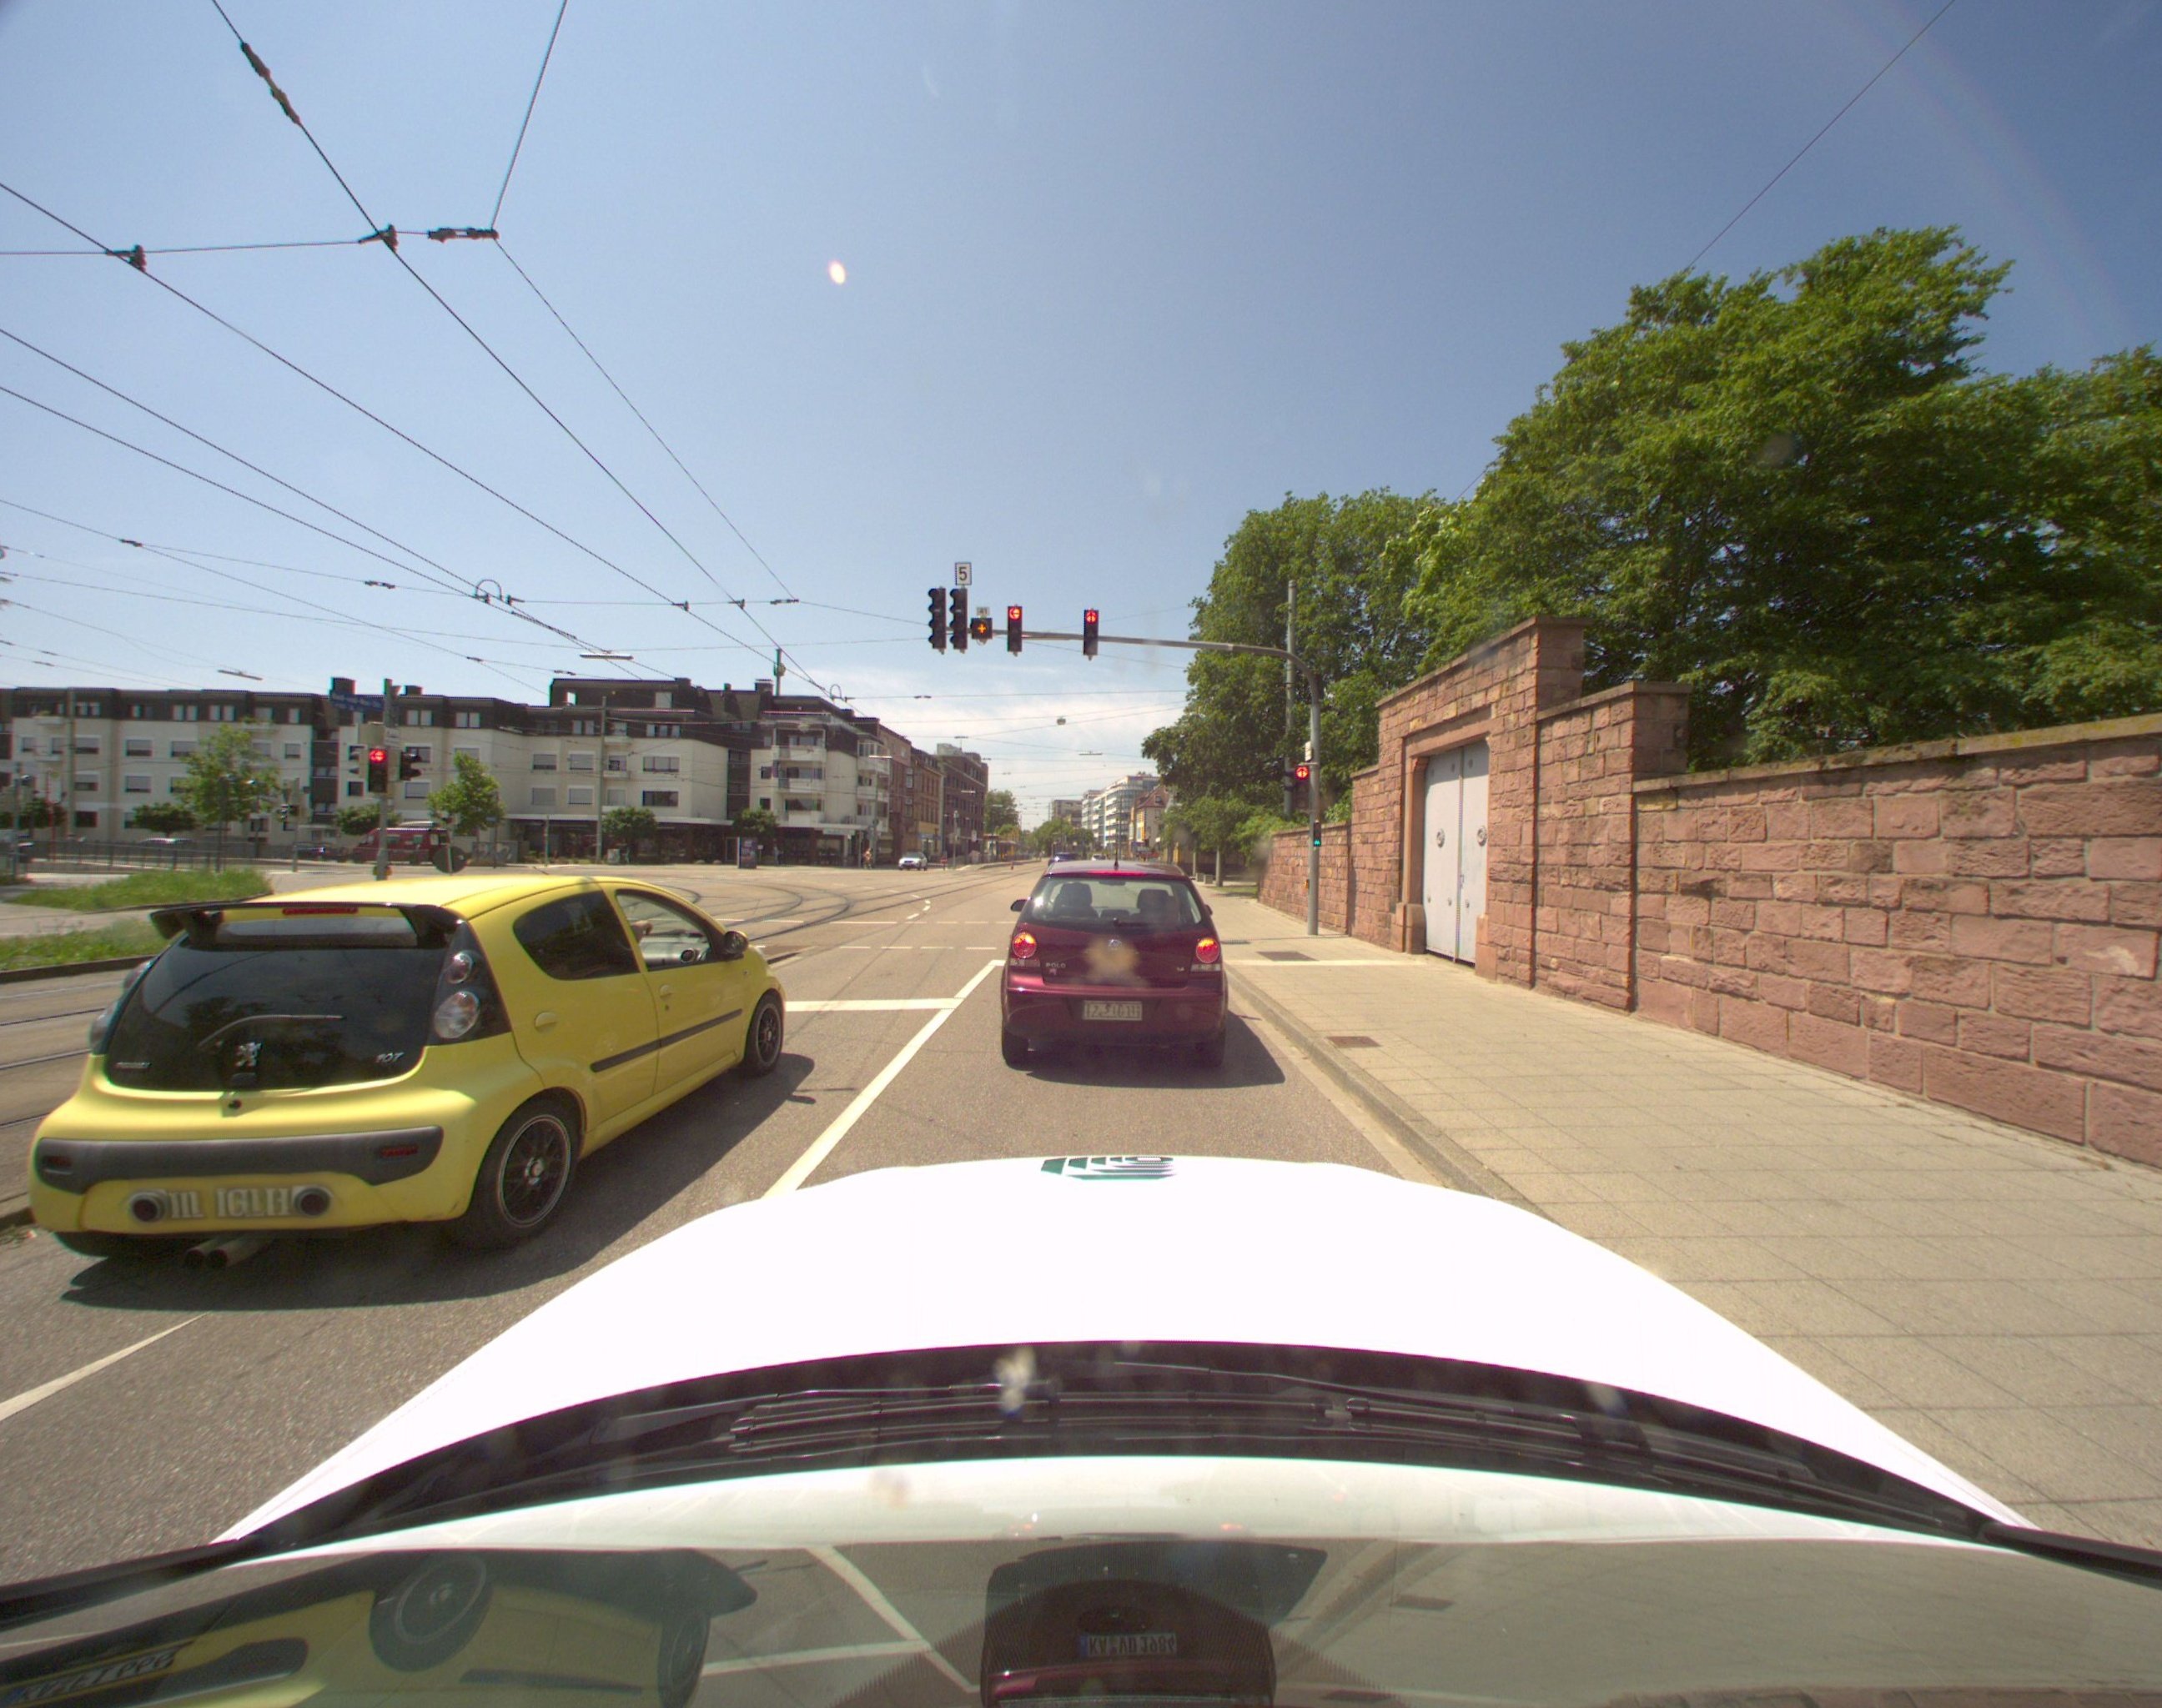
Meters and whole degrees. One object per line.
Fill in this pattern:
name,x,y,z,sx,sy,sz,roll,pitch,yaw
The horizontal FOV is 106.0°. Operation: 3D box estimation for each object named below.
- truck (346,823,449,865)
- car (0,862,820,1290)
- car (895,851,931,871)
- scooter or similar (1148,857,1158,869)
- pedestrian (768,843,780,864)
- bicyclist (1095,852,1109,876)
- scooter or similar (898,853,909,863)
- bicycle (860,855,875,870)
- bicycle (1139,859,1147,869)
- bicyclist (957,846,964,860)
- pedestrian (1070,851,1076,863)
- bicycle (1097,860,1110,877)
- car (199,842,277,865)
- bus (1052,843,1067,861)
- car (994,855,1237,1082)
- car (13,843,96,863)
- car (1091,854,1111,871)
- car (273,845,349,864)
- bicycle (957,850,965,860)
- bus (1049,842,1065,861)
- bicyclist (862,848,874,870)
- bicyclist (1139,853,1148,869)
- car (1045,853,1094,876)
truck,-45.474,-0.637,54.259,5.007,2.698,2.188,1,0,1
car,-2.915,0.783,4.639,1.610,1.421,3.656,-1,-1,1
car,-14.060,0.587,68.242,1.986,1.553,4.141,1,0,2
scooter or similar,7.449,0.956,84.295,0.340,1.178,1.457,1,0,-22
pedestrian,-26.246,-0.041,69.609,0.811,1.696,0.694,1,0,-37
bicyclist,1.567,0.756,60.328,0.721,1.760,0.928,1,0,21
scooter or similar,-20.097,0.419,92.223,0.484,1.082,1.584,1,0,18
bicycle,-17.733,0.687,67.736,0.692,1.149,1.932,1,1,1
bicycle,6.397,1.028,84.060,0.666,1.002,1.865,-3,1,2
bicyclist,-15.950,-0.156,107.853,0.730,1.762,1.135,1,0,1
pedestrian,-1.134,0.422,111.317,0.760,1.674,1.101,1,0,2
bicycle,1.666,1.050,60.459,0.372,1.197,1.915,1,0,21
car,-56.124,-0.022,54.254,3.556,1.433,1.591,1,0,2
bus,-3.661,-0.369,140.690,2.224,3.003,6.596,1,0,2
car,0.248,0.749,6.835,1.556,1.453,3.062,1,0,1
car,-67.842,-0.071,53.855,3.556,1.240,1.591,1,0,2
car,1.895,0.782,77.546,1.816,1.530,4.002,1,0,2
car,-51.386,0.014,54.402,3.556,1.219,1.591,1,0,2
bicycle,-15.933,0.085,107.844,0.674,1.304,2.105,1,0,1
bus,-3.956,-0.420,134.115,2.137,3.003,6.576,1,0,2
bicyclist,-17.725,0.404,67.814,0.692,1.765,1.137,1,1,1
bicyclist,6.436,0.704,84.138,0.829,1.618,0.860,-3,1,2
car,-0.802,0.802,61.648,1.976,1.624,4.657,1,0,24
